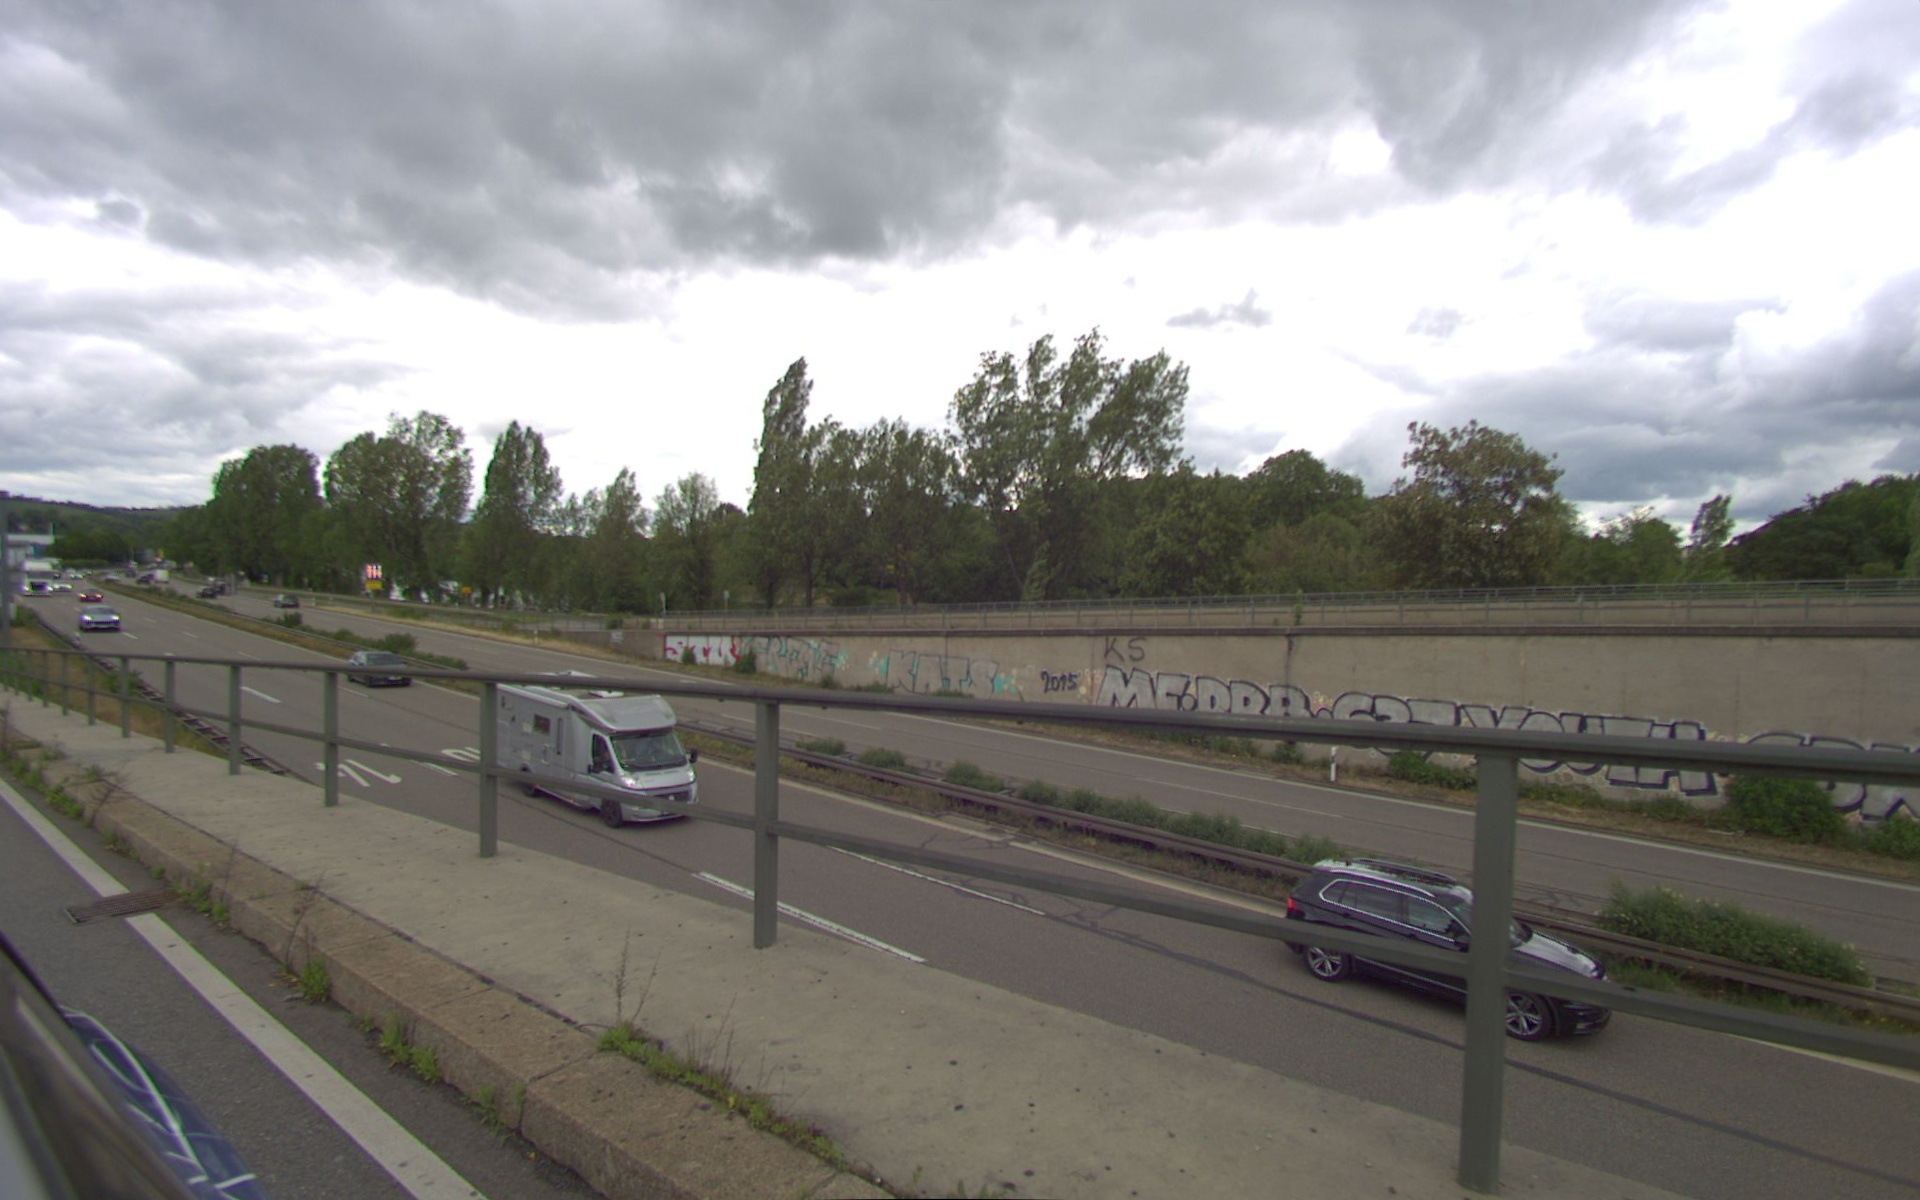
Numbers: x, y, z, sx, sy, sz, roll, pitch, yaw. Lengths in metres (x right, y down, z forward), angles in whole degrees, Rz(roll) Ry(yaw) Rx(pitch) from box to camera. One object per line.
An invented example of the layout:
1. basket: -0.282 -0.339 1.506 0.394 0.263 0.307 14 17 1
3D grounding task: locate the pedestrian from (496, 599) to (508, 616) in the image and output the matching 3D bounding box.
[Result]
1. pedestrian: -48.094 0.815 106.348 1.078 1.718 0.820 3 3 43

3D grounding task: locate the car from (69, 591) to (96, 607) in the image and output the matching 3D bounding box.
1. car: -91.777 -0.117 105.863 4.167 1.451 1.732 5 3 44

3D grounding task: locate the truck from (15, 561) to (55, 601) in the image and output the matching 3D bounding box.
1. truck: -105.964 -2.205 115.867 6.698 4.283 2.722 3 1 42

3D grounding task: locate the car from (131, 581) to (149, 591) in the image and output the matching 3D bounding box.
1. car: -148.869 -2.472 183.769 4.334 1.662 1.878 3 1 43

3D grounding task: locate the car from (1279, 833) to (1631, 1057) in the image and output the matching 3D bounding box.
1. car: 7.165 4.851 14.929 4.280 1.726 1.820 3 1 43

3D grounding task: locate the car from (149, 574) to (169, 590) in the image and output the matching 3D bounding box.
1. car: -156.878 -3.566 198.209 5.362 2.800 2.186 3 1 43

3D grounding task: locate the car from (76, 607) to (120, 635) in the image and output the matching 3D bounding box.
1. car: -58.725 1.408 68.920 4.279 1.813 1.820 -1 -1 43

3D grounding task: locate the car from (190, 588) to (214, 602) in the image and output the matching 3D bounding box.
1. car: -93.556 -0.597 124.844 3.859 1.512 1.646 3 1 43

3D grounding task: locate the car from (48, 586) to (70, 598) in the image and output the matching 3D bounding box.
1. car: -118.627 -1.012 133.250 4.279 1.429 1.894 4 2 44

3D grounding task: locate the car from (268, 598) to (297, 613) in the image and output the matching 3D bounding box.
1. car: -72.896 0.553 108.881 4.110 1.386 1.692 3 1 42

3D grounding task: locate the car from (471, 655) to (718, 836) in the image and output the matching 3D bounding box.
1. car: -9.294 3.319 25.176 7.658 3.264 2.336 3 1 42

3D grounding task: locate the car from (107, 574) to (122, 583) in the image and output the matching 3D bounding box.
1. car: -168.474 -4.195 201.568 3.932 1.662 1.738 3 2 42

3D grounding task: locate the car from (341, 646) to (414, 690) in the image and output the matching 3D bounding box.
1. car: -26.795 3.096 46.485 4.220 1.581 1.730 3 2 43

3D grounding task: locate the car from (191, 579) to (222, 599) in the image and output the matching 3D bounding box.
1. car: -103.132 -1.548 138.445 6.113 2.566 2.220 3 1 42
